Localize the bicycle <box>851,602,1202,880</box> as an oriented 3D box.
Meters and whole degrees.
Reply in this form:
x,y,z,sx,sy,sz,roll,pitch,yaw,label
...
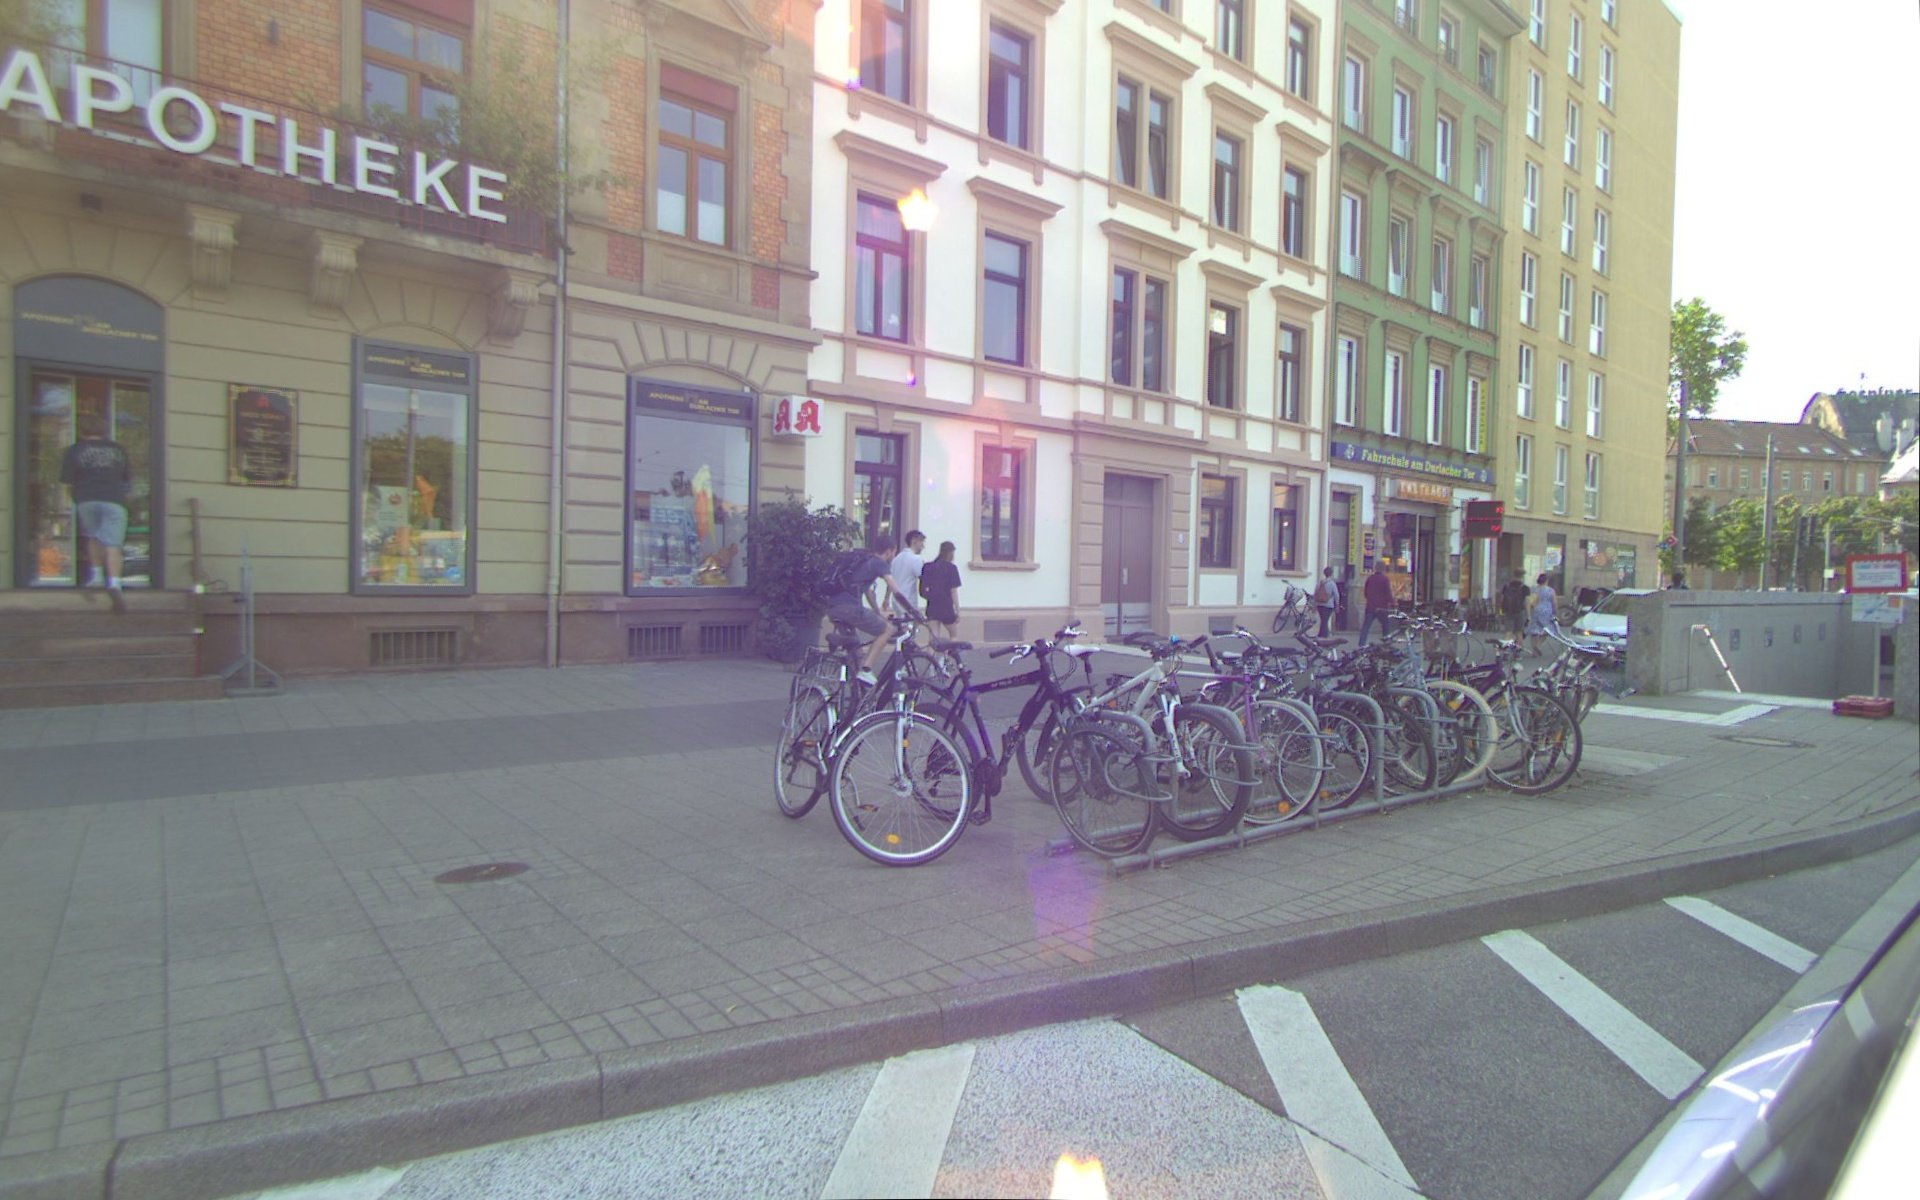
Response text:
x,y,z,sx,sy,sz,roll,pitch,yaw,label
0.246,0.569,4.996,0.686,1.089,1.806,0,1,-39,bicycle

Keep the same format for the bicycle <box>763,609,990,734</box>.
x,y,z,sx,sy,sz,roll,pitch,yaw,label
-0.712,0.588,9.097,1.964,0.965,0.721,0,1,-39,bicycle

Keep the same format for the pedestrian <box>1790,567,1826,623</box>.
x,y,z,sx,sy,sz,roll,pitch,yaw,label
25.379,-0.153,30.282,0.782,1.648,0.645,0,3,-40,pedestrian

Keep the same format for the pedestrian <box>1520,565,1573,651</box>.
x,y,z,sx,sy,sz,roll,pitch,yaw,label
11.602,0.149,20.023,0.783,1.648,0.645,0,3,-42,pedestrian

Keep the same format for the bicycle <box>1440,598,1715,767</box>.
x,y,z,sx,sy,sz,roll,pitch,yaw,label
5.024,0.603,8.348,0.626,1.218,1.841,0,1,-38,bicycle

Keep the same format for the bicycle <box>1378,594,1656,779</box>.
x,y,z,sx,sy,sz,roll,pitch,yaw,label
4.168,0.581,7.723,0.427,1.235,1.841,0,1,-39,bicycle

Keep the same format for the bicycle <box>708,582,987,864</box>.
x,y,z,sx,sy,sz,roll,pitch,yaw,label
-0.633,0.511,5.152,0.677,1.199,1.608,0,1,-38,bicycle

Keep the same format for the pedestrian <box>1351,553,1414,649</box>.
x,y,z,sx,sy,sz,roll,pitch,yaw,label
8.038,-0.006,19.238,0.867,1.755,0.771,0,3,-44,pedestrian

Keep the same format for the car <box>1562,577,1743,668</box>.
x,y,z,sx,sy,sz,roll,pitch,yaw,label
13.018,0.350,18.956,3.863,1.443,1.667,0,4,-39,car

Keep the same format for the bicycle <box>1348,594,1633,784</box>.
x,y,z,sx,sy,sz,roll,pitch,yaw,label
3.817,0.571,7.435,0.427,1.218,1.841,0,1,-39,bicycle

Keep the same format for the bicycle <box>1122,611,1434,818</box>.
x,y,z,sx,sy,sz,roll,pitch,yaw,label
1.933,0.632,6.406,0.645,1.074,1.841,0,1,-39,bicycle

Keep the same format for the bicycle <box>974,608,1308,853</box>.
x,y,z,sx,sy,sz,roll,pitch,yaw,label
0.905,0.605,5.546,0.645,1.074,1.841,0,1,-39,bicycle

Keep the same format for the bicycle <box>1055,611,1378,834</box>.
x,y,z,sx,sy,sz,roll,pitch,yaw,label
1.432,0.622,5.984,0.645,1.066,1.841,0,1,-39,bicycle

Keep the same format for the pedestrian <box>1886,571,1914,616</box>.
x,y,z,sx,sy,sz,roll,pitch,yaw,label
35.616,-0.264,38.340,0.783,1.648,0.645,0,3,-42,pedestrian

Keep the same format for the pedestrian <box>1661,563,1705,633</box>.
x,y,z,sx,sy,sz,roll,pitch,yaw,label
17.627,-0.053,24.676,0.783,1.648,0.645,0,3,-42,pedestrian

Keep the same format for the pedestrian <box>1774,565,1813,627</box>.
x,y,z,sx,sy,sz,roll,pitch,yaw,label
22.795,-0.109,27.679,0.783,1.648,0.645,0,3,-42,pedestrian

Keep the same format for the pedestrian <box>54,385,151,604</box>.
x,y,z,sx,sy,sz,roll,pitch,yaw,label
-7.814,-0.927,9.250,0.650,1.886,0.738,0,2,-40,pedestrian

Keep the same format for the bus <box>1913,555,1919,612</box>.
x,y,z,sx,sy,sz,roll,pitch,yaw,label
55.141,-0.879,50.849,2.867,3.177,12.342,0,1,1,bus

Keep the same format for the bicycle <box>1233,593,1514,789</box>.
x,y,z,sx,sy,sz,roll,pitch,yaw,label
2.892,0.565,7.266,0.539,1.218,1.841,0,1,-39,bicycle

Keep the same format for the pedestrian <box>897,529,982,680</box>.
x,y,z,sx,sy,sz,roll,pitch,yaw,label
-0.253,0.032,12.497,0.783,1.793,0.644,0,3,-44,pedestrian

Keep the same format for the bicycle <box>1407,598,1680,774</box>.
x,y,z,sx,sy,sz,roll,pitch,yaw,label
4.540,0.608,8.010,0.427,1.218,1.841,0,1,-39,bicycle

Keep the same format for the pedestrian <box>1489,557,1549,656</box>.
x,y,z,sx,sy,sz,roll,pitch,yaw,label
10.463,0.109,18.957,0.783,1.780,0.688,0,3,-41,pedestrian

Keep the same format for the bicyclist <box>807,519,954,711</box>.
x,y,z,sx,sy,sz,roll,pitch,yaw,label
-0.713,0.111,9.088,1.083,1.606,0.721,0,1,-39,bicyclist

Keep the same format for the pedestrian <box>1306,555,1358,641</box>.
x,y,z,sx,sy,sz,roll,pitch,yaw,label
7.416,-0.053,20.177,0.783,1.648,0.644,0,3,-44,pedestrian

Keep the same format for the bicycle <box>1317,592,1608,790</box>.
x,y,z,sx,sy,sz,roll,pitch,yaw,label
3.477,0.562,7.174,0.427,1.218,1.841,0,1,-39,bicycle

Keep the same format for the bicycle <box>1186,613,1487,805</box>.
x,y,z,sx,sy,sz,roll,pitch,yaw,label
2.465,0.646,6.827,0.645,1.069,1.841,0,1,-39,bicycle

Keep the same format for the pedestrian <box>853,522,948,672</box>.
x,y,z,sx,sy,sz,roll,pitch,yaw,label
-0.755,-0.062,12.896,0.913,1.826,0.726,0,3,-43,pedestrian
